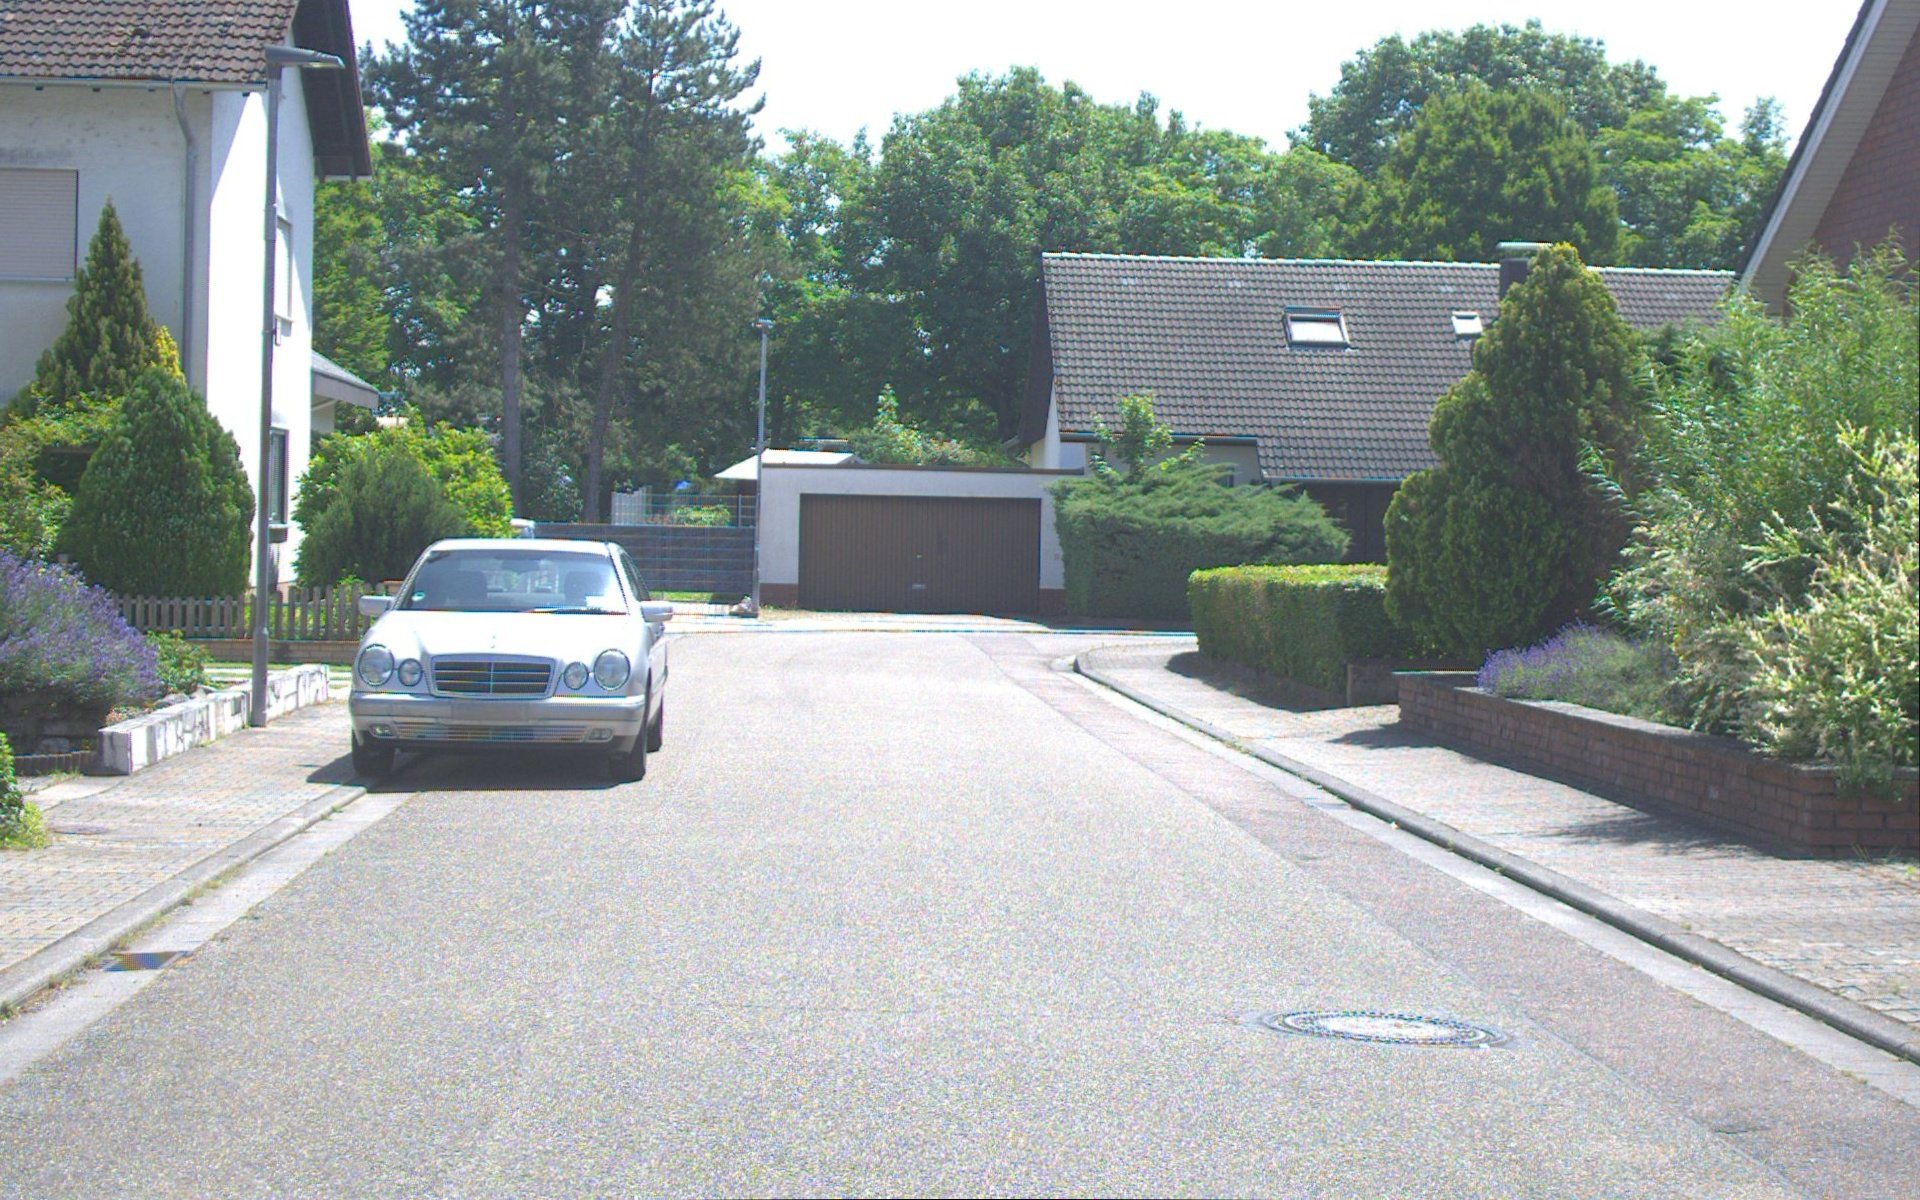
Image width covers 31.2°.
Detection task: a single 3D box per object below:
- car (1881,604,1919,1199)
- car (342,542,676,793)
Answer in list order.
[{"bbox_3d":[2.996,0.787,5.988,1.650,1.435,3.652,1,1,-2],"label":"car"},{"bbox_3d":[-2.787,0.357,22.040,1.699,1.388,4.337,1,1,-2],"label":"car"}]
